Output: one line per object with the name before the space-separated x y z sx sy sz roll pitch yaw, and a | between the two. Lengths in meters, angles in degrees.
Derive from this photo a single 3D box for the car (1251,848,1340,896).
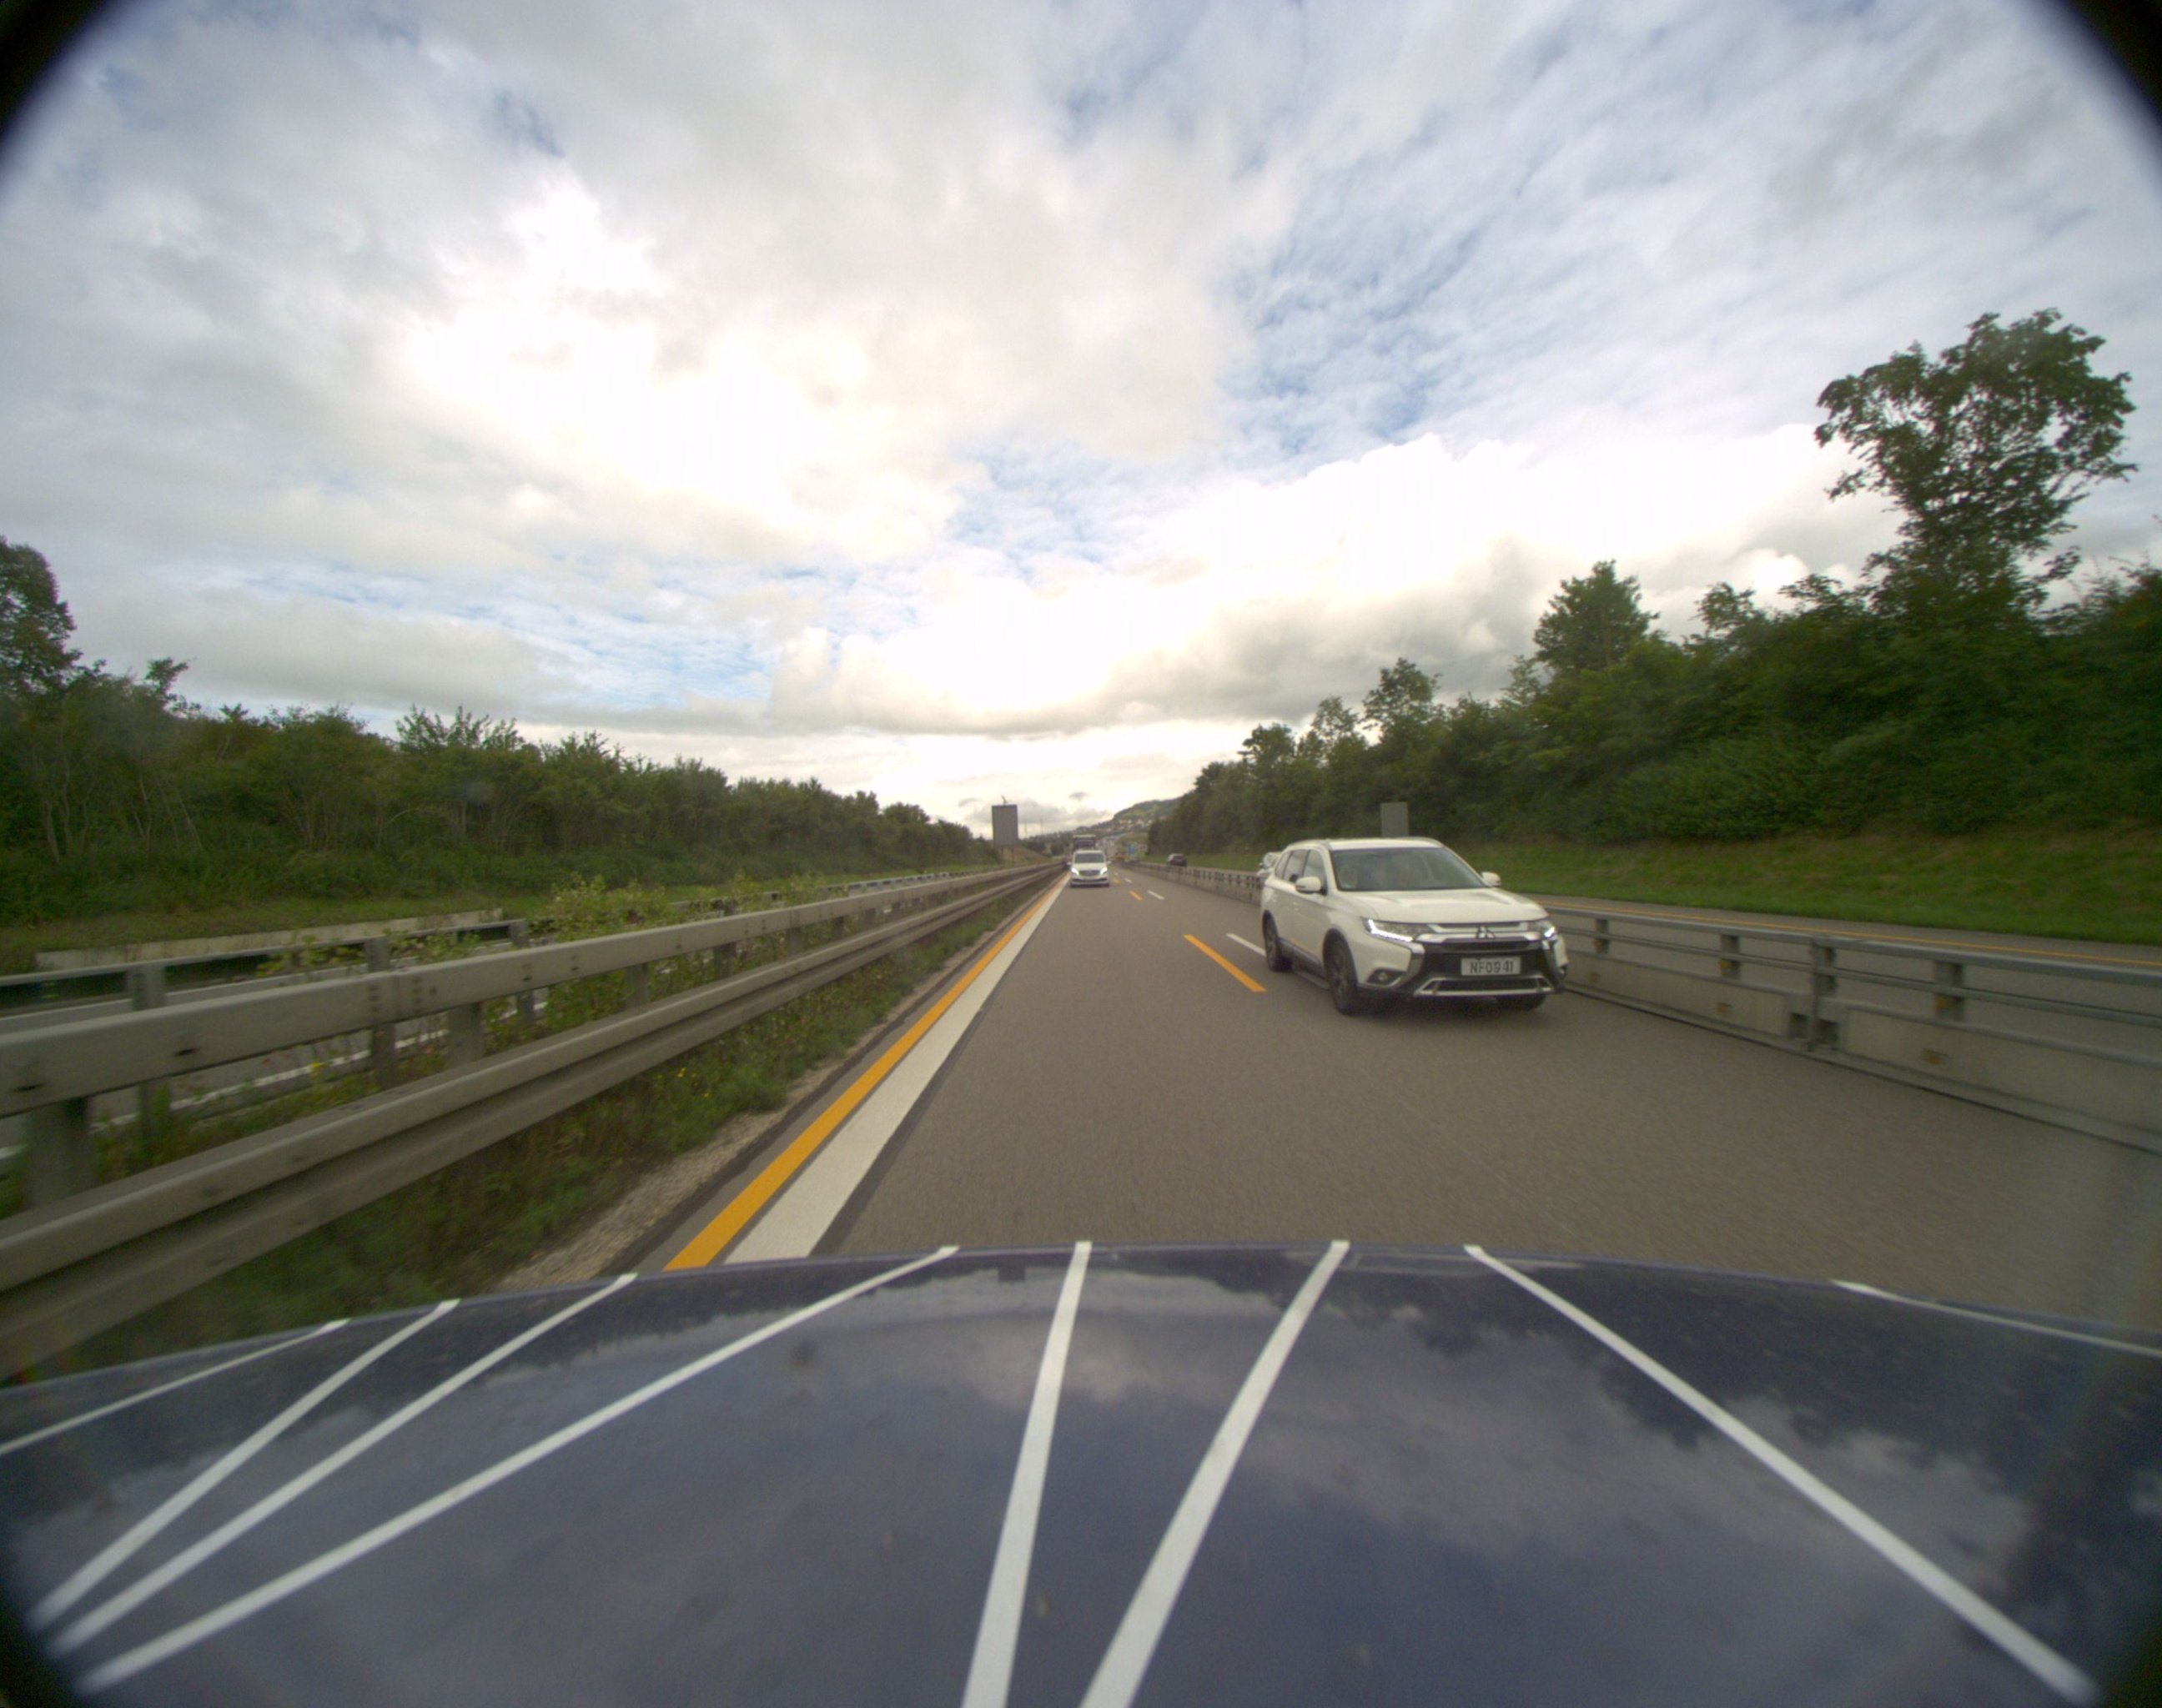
car | 7.209 0.563 26.022 1.699 1.445 4.551 -2 0 0

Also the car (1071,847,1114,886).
car | 0.586 0.596 38.707 1.991 1.787 4.585 -2 1 1

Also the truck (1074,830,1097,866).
truck | 0.595 -0.735 89.742 2.521 4.081 5.685 -2 1 1

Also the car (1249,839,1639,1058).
car | 3.258 0.707 8.054 1.998 1.618 4.607 -1 0 1

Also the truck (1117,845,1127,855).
truck | 11.742 -1.243 216.729 2.496 2.702 6.666 -2 0 1

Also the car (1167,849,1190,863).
car | 10.898 0.185 85.489 1.998 1.515 5.024 -2 0 1

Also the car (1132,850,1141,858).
car | 11.507 -0.017 157.395 1.685 1.541 3.949 -1 0 0

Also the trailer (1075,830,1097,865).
trailer | 0.714 -0.789 95.672 2.521 4.081 11.112 -2 1 1

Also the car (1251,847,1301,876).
car | 10.783 0.389 42.345 1.699 1.445 3.958 -3 0 0
